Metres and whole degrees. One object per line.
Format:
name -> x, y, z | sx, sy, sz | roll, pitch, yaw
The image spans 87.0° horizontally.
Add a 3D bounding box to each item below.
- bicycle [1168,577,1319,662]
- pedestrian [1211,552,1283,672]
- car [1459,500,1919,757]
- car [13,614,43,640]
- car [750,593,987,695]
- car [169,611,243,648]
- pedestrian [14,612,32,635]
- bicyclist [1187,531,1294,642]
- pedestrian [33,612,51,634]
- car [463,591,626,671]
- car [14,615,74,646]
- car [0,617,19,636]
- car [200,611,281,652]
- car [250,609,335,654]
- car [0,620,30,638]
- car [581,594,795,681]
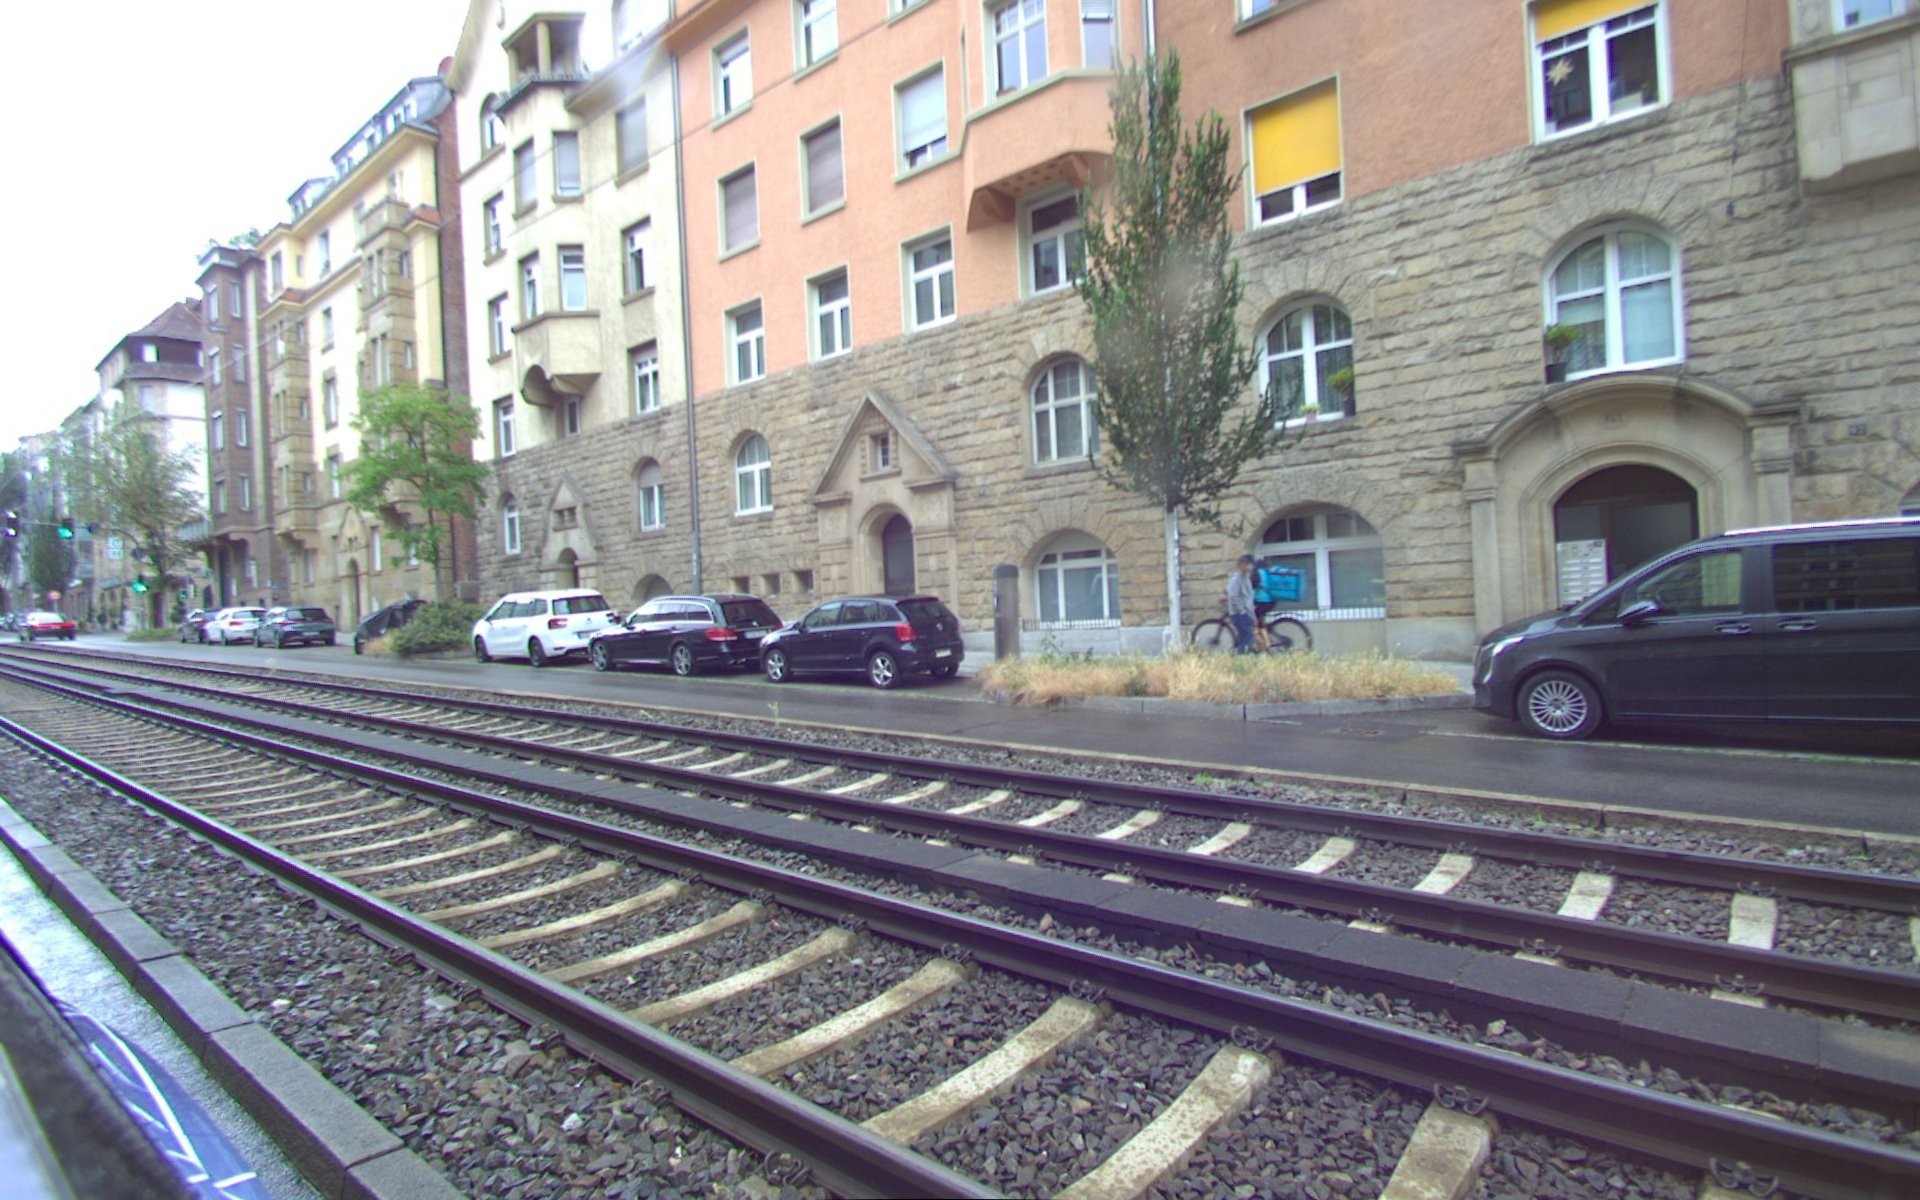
bicycle -> 4.279, 0.297, 15.401 | 2.038, 1.195, 0.815 | -2, 0, 44
pedestrian -> 4.100, 0.164, 14.468 | 0.765, 1.654, 0.692 | -1, 0, 39
car -> 7.324, 0.215, 9.010 | 4.823, 1.956, 1.973 | -1, 0, 41
car -> -69.060, 1.983, 75.006 | 1.561, 1.691, 3.794 | -2, 2, -43
car -> -1.578, 0.668, 16.945 | 3.638, 1.508, 1.912 | -1, 0, 38
car -> -32.164, 1.261, 43.116 | 3.843, 1.452, 1.748 | -1, 0, 41
pedestrian -> -84.727, 2.134, 91.514 | 1.163, 1.972, 1.042 | -1, 0, 43
bicyclist -> 4.264, -0.205, 15.415 | 0.874, 1.609, 1.254 | -3, 1, -44
pedestrian -> -83.887, 2.123, 92.498 | 1.163, 1.972, 1.042 | -1, 0, 43
car -> -9.766, 0.700, 23.640 | 4.144, 1.668, 1.843 | -1, 0, 41
car -> -48.256, 1.593, 53.296 | 4.962, 1.535, 1.784 | -1, 0, 41
car -> -80.935, 2.278, 85.445 | 3.843, 1.527, 1.748 | -1, 0, 41
car -> -28.306, 1.207, 39.793 | 4.030, 1.452, 1.748 | -1, 1, 42
car -> -23.704, 1.092, 35.889 | 3.845, 1.452, 1.656 | -1, 1, 43
car -> -74.308, 2.271, 79.372 | 3.843, 1.321, 1.563 | -1, 0, 41
car -> -5.459, 0.696, 19.966 | 4.599, 1.506, 1.824 | -1, 0, 41
